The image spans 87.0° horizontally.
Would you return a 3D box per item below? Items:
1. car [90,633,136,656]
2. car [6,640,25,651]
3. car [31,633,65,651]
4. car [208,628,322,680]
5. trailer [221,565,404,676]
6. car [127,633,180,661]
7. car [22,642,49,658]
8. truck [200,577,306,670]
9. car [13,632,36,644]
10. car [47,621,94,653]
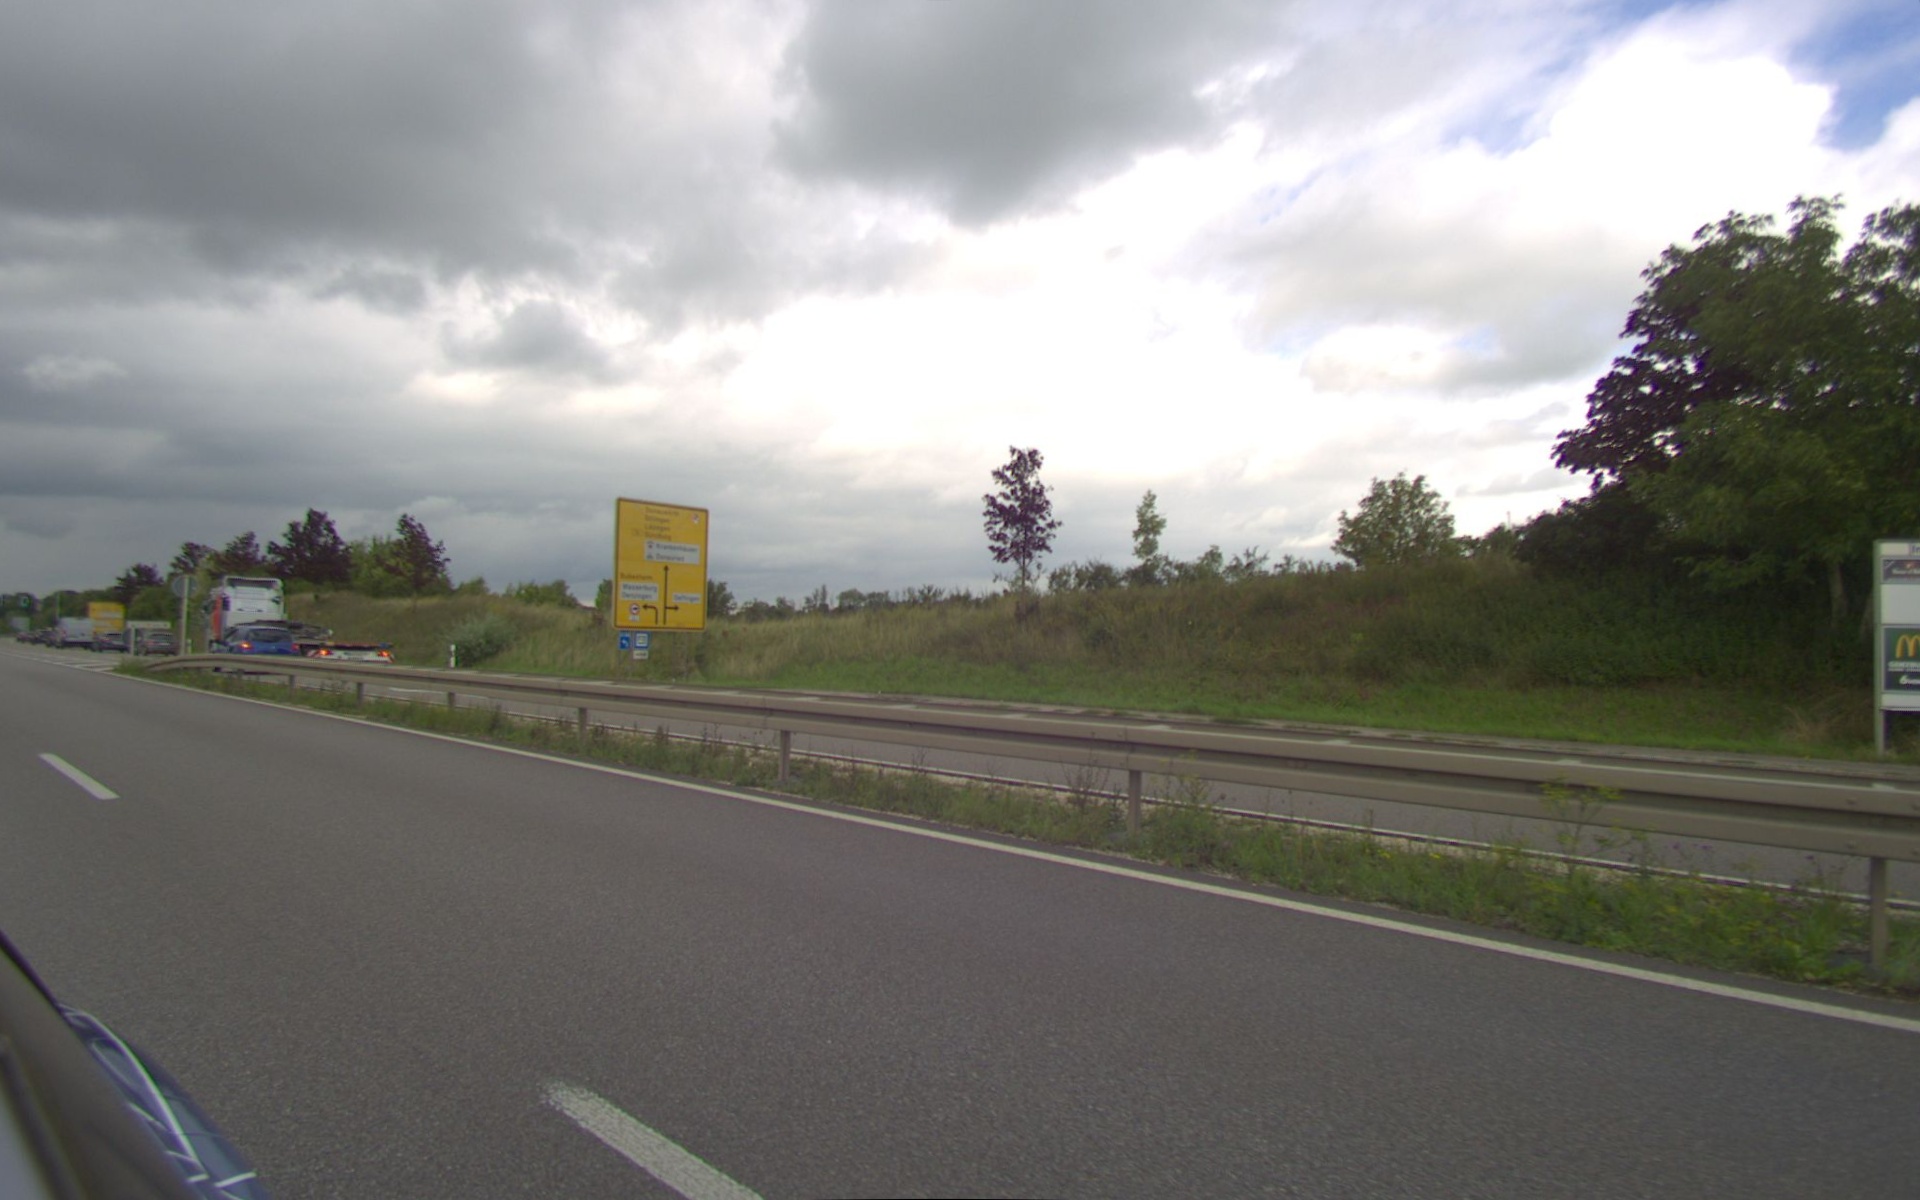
[{"bbox_3d":[-58.843,3.090,70.272,4.546,1.542,1.714,-2,-5,42],"label":"car"},{"bbox_3d":[-138.332,6.686,148.200,4.706,1.416,1.774,-2,-6,44],"label":"car"},{"bbox_3d":[-81.056,3.720,89.928,4.192,1.542,1.714,-2,-5,42],"label":"car"},{"bbox_3d":[-22.043,1.693,32.056,4.192,1.530,2.063,-2,-3,43],"label":"car"},{"bbox_3d":[-26.835,0.952,41.495,12.979,3.977,2.746,-2,-3,41],"label":"trailer"},{"bbox_3d":[-47.897,2.786,60.085,4.192,1.542,1.714,-2,-5,41],"label":"car"},{"bbox_3d":[-100.351,5.396,109.829,4.517,1.647,1.774,-2,-6,44],"label":"car"},{"bbox_3d":[-32.541,1.126,46.548,5.284,4.028,2.773,-2,-3,42],"label":"truck"},{"bbox_3d":[-119.701,4.874,129.486,4.706,1.523,1.774,-2,-6,44],"label":"car"},{"bbox_3d":[-71.040,2.972,80.801,5.633,2.458,2.011,-2,-5,42],"label":"car"}]
